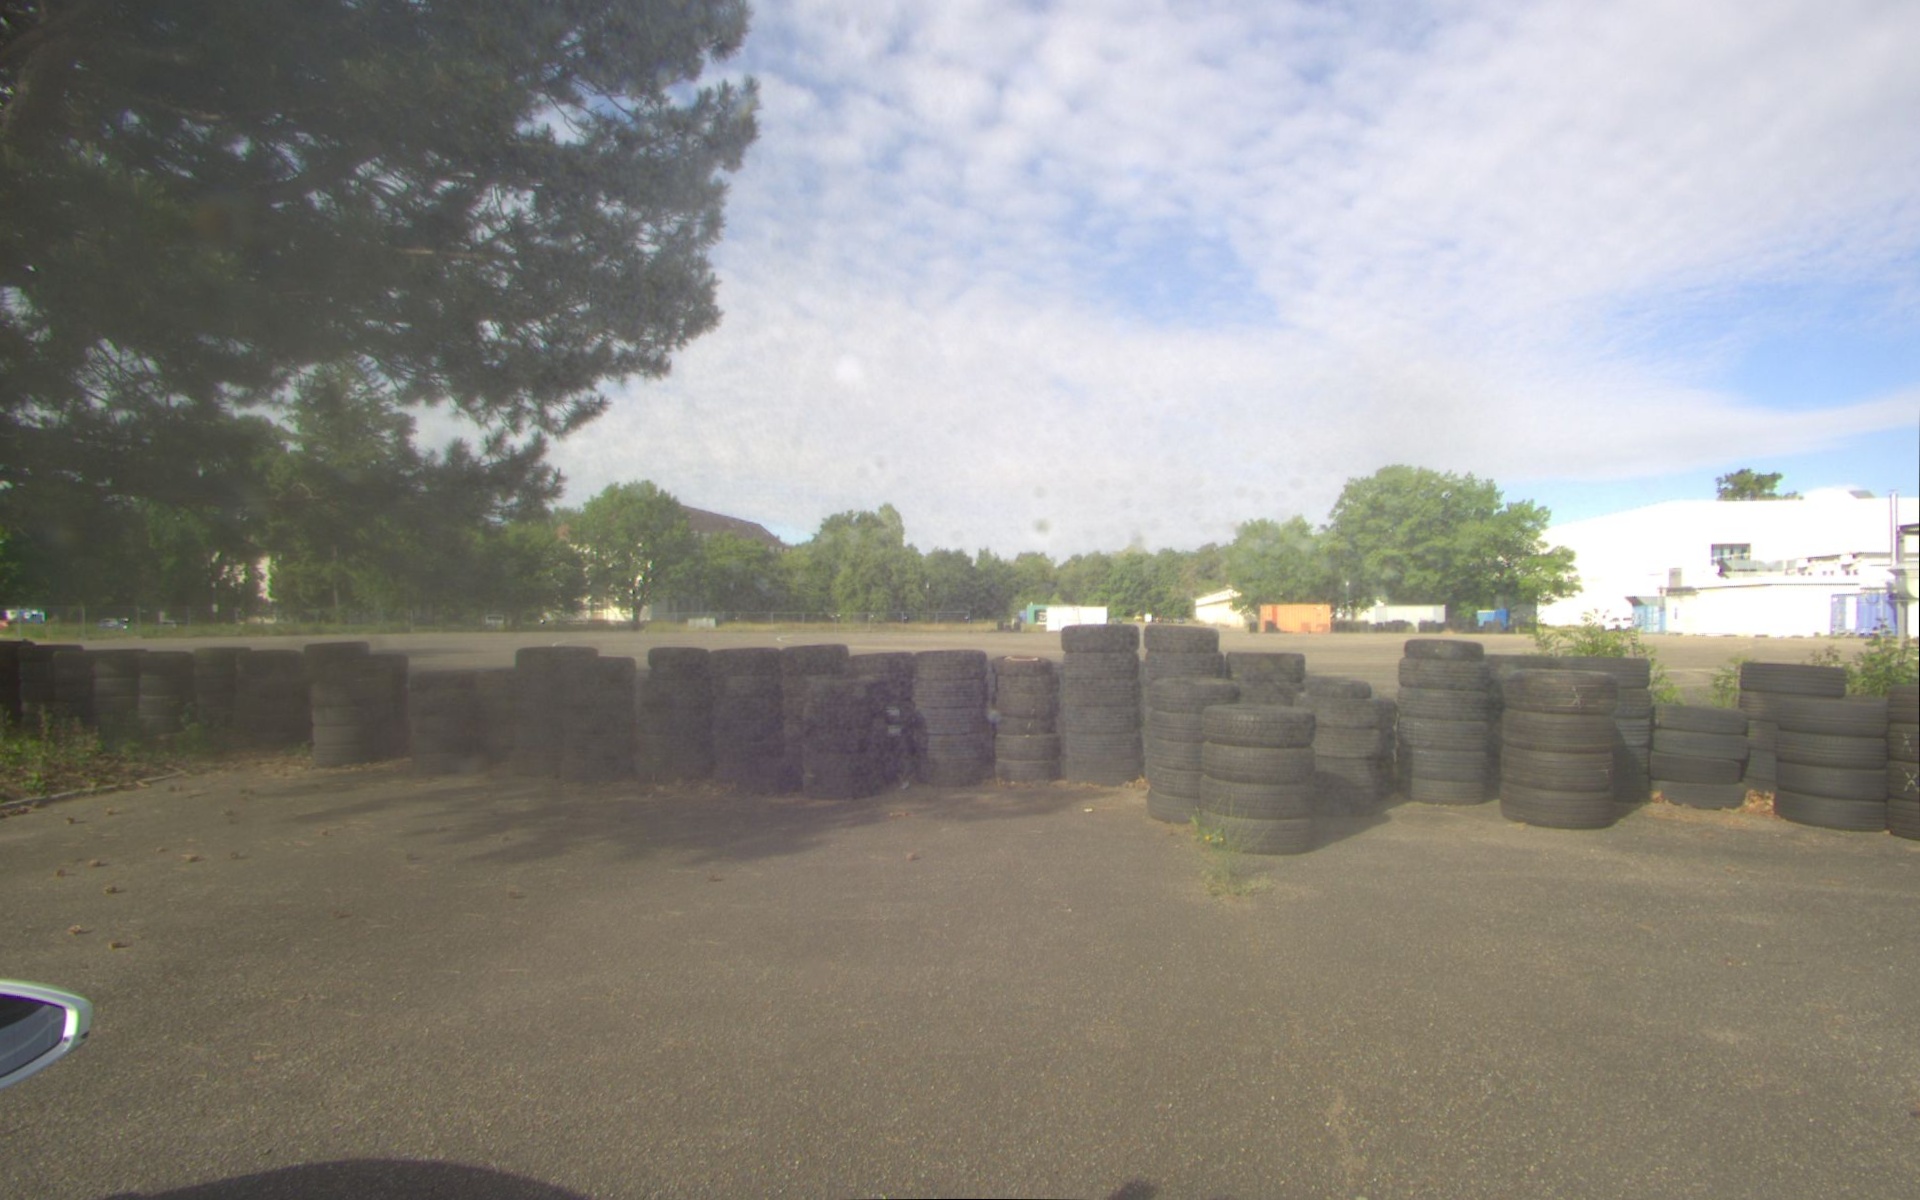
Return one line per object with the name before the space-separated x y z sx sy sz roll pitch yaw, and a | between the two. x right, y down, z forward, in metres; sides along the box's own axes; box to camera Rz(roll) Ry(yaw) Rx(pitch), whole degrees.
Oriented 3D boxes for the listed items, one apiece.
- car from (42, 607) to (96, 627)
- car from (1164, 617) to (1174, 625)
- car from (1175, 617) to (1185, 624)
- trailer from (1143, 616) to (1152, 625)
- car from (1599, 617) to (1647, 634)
car | -81.746 1.568 91.895 3.928 1.773 1.997 0 0 18
car | 50.559 5.095 242.233 1.999 1.832 4.000 0 -1 7
car | 53.021 4.997 241.801 1.961 1.772 4.000 0 -1 7
trailer | 45.819 5.017 244.543 2.025 2.040 3.999 0 -1 9
car | 61.096 2.324 92.354 1.839 1.585 4.547 0 -1 8
